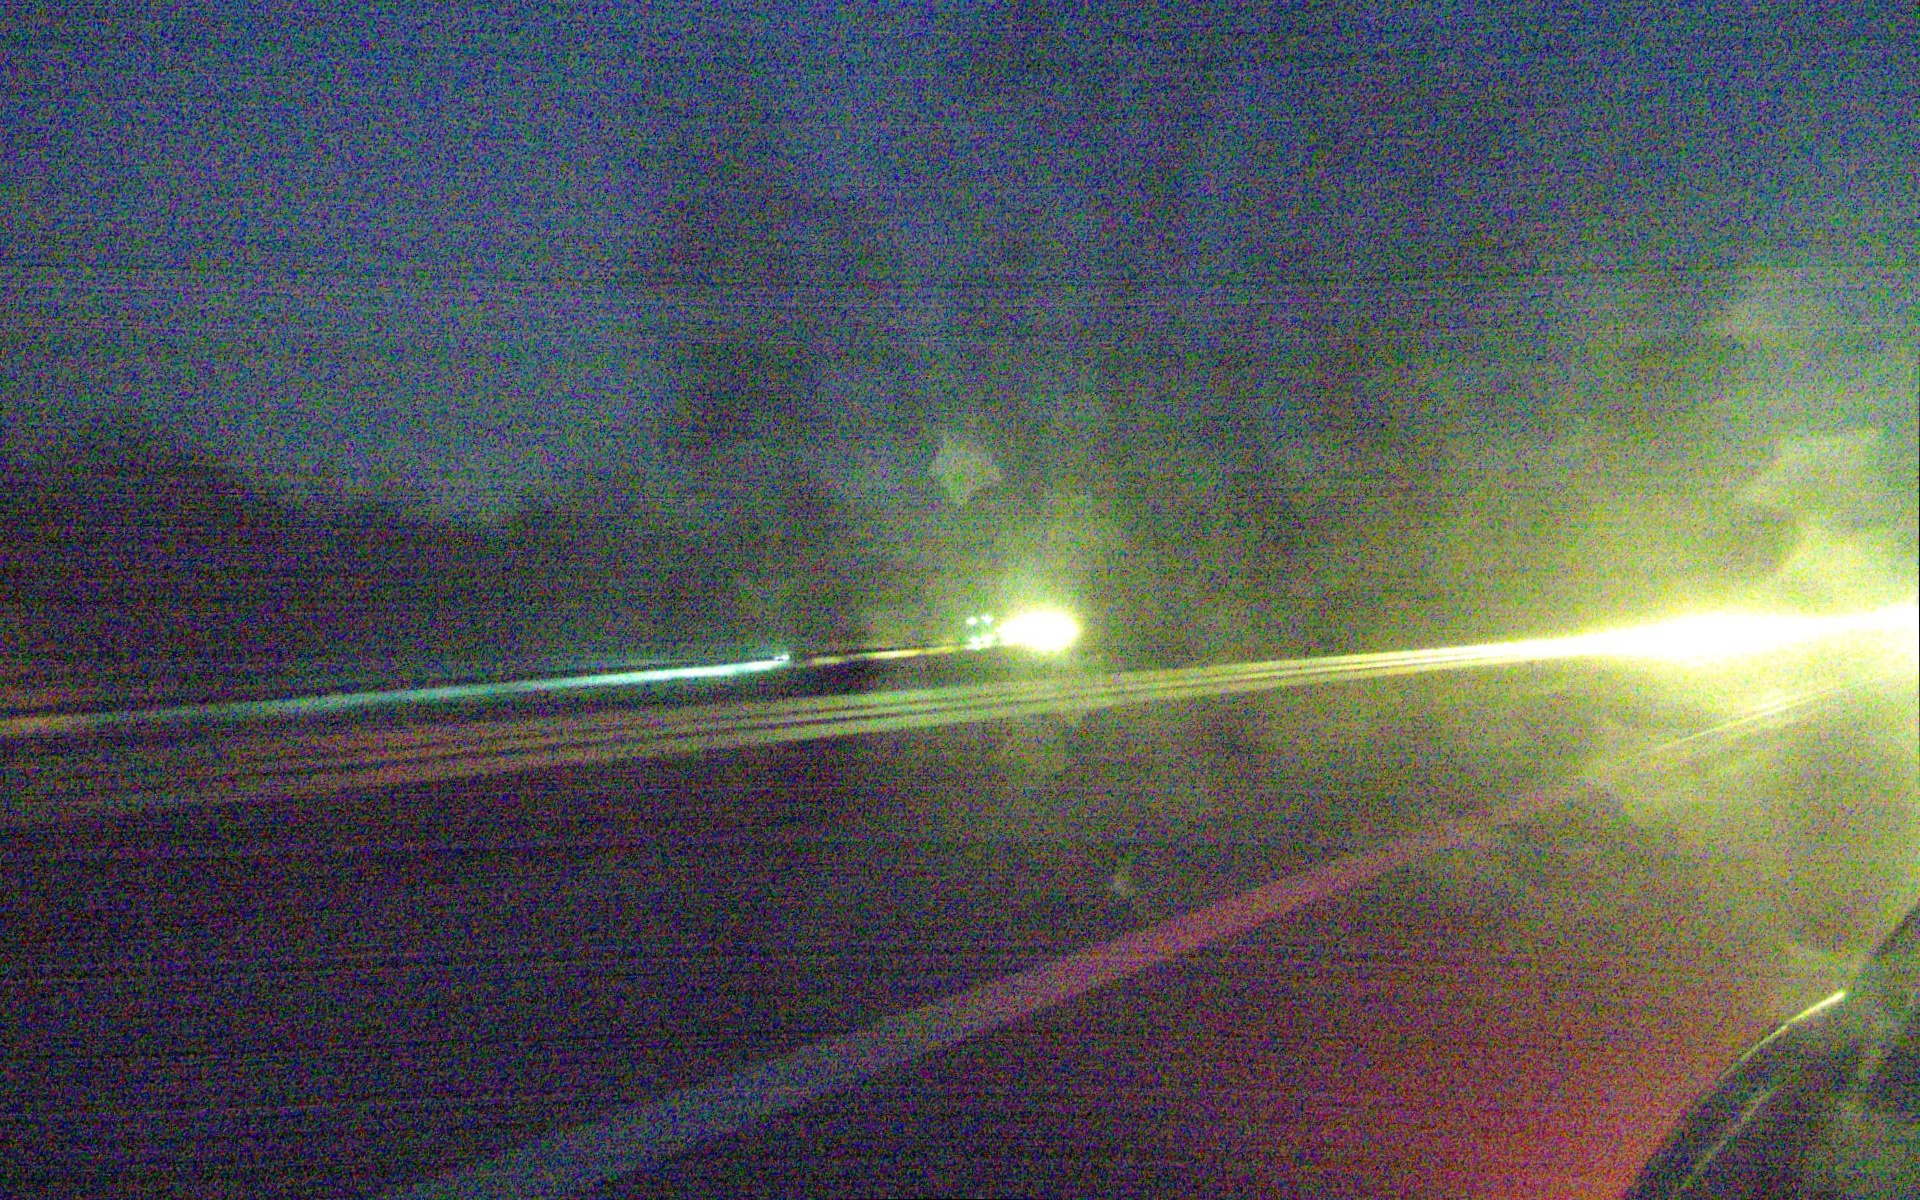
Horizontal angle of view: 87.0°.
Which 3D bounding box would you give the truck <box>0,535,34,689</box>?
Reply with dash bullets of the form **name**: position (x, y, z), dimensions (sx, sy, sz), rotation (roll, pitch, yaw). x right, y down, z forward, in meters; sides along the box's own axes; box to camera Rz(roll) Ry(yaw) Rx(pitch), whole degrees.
- **truck**: position (-30.393, 0.522, 23.073), dimensions (2.738, 4.275, 13.714), rotation (-1, 1, 24)
